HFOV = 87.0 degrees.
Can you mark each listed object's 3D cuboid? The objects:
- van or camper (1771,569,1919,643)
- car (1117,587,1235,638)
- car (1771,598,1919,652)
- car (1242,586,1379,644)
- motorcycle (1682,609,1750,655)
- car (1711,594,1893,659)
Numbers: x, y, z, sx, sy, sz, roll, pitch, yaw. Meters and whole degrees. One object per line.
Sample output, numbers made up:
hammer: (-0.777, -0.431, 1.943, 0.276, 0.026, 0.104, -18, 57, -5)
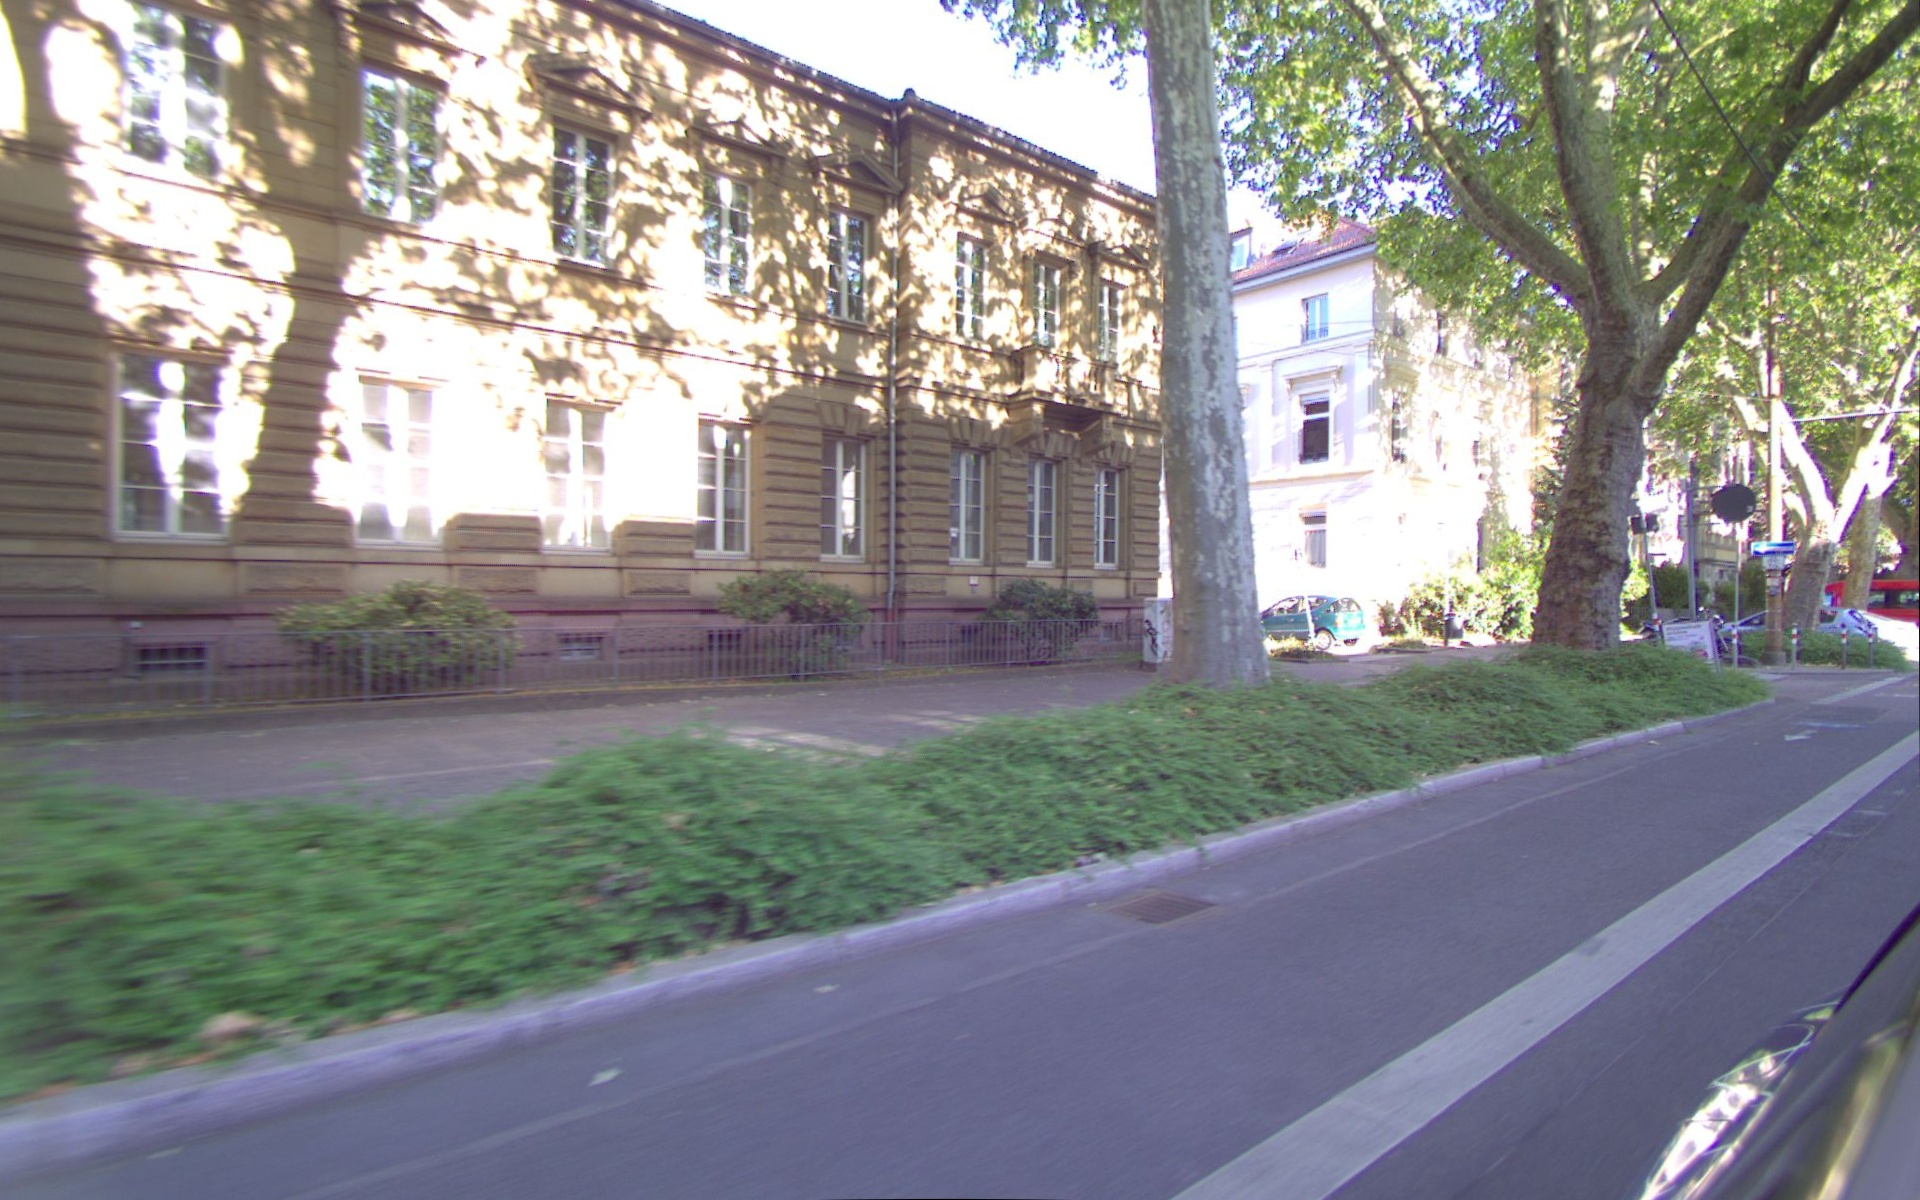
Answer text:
van or camper: (33.817, 0.175, 37.261, 2.184, 2.528, 5.920, -3, 3, -42)
car: (7.381, 0.375, 34.857, 1.707, 1.561, 3.704, -3, 3, -41)
car: (27.381, 0.722, 31.062, 1.587, 1.435, 3.674, -3, 3, -41)
car: (10.592, 0.398, 30.705, 1.707, 1.561, 3.569, -3, 3, -41)
motorcycle: (18.361, 0.778, 24.608, 1.252, 1.067, 0.394, 1, 0, 13)
car: (23.286, 0.667, 28.080, 1.587, 1.561, 3.674, -3, 3, -41)
